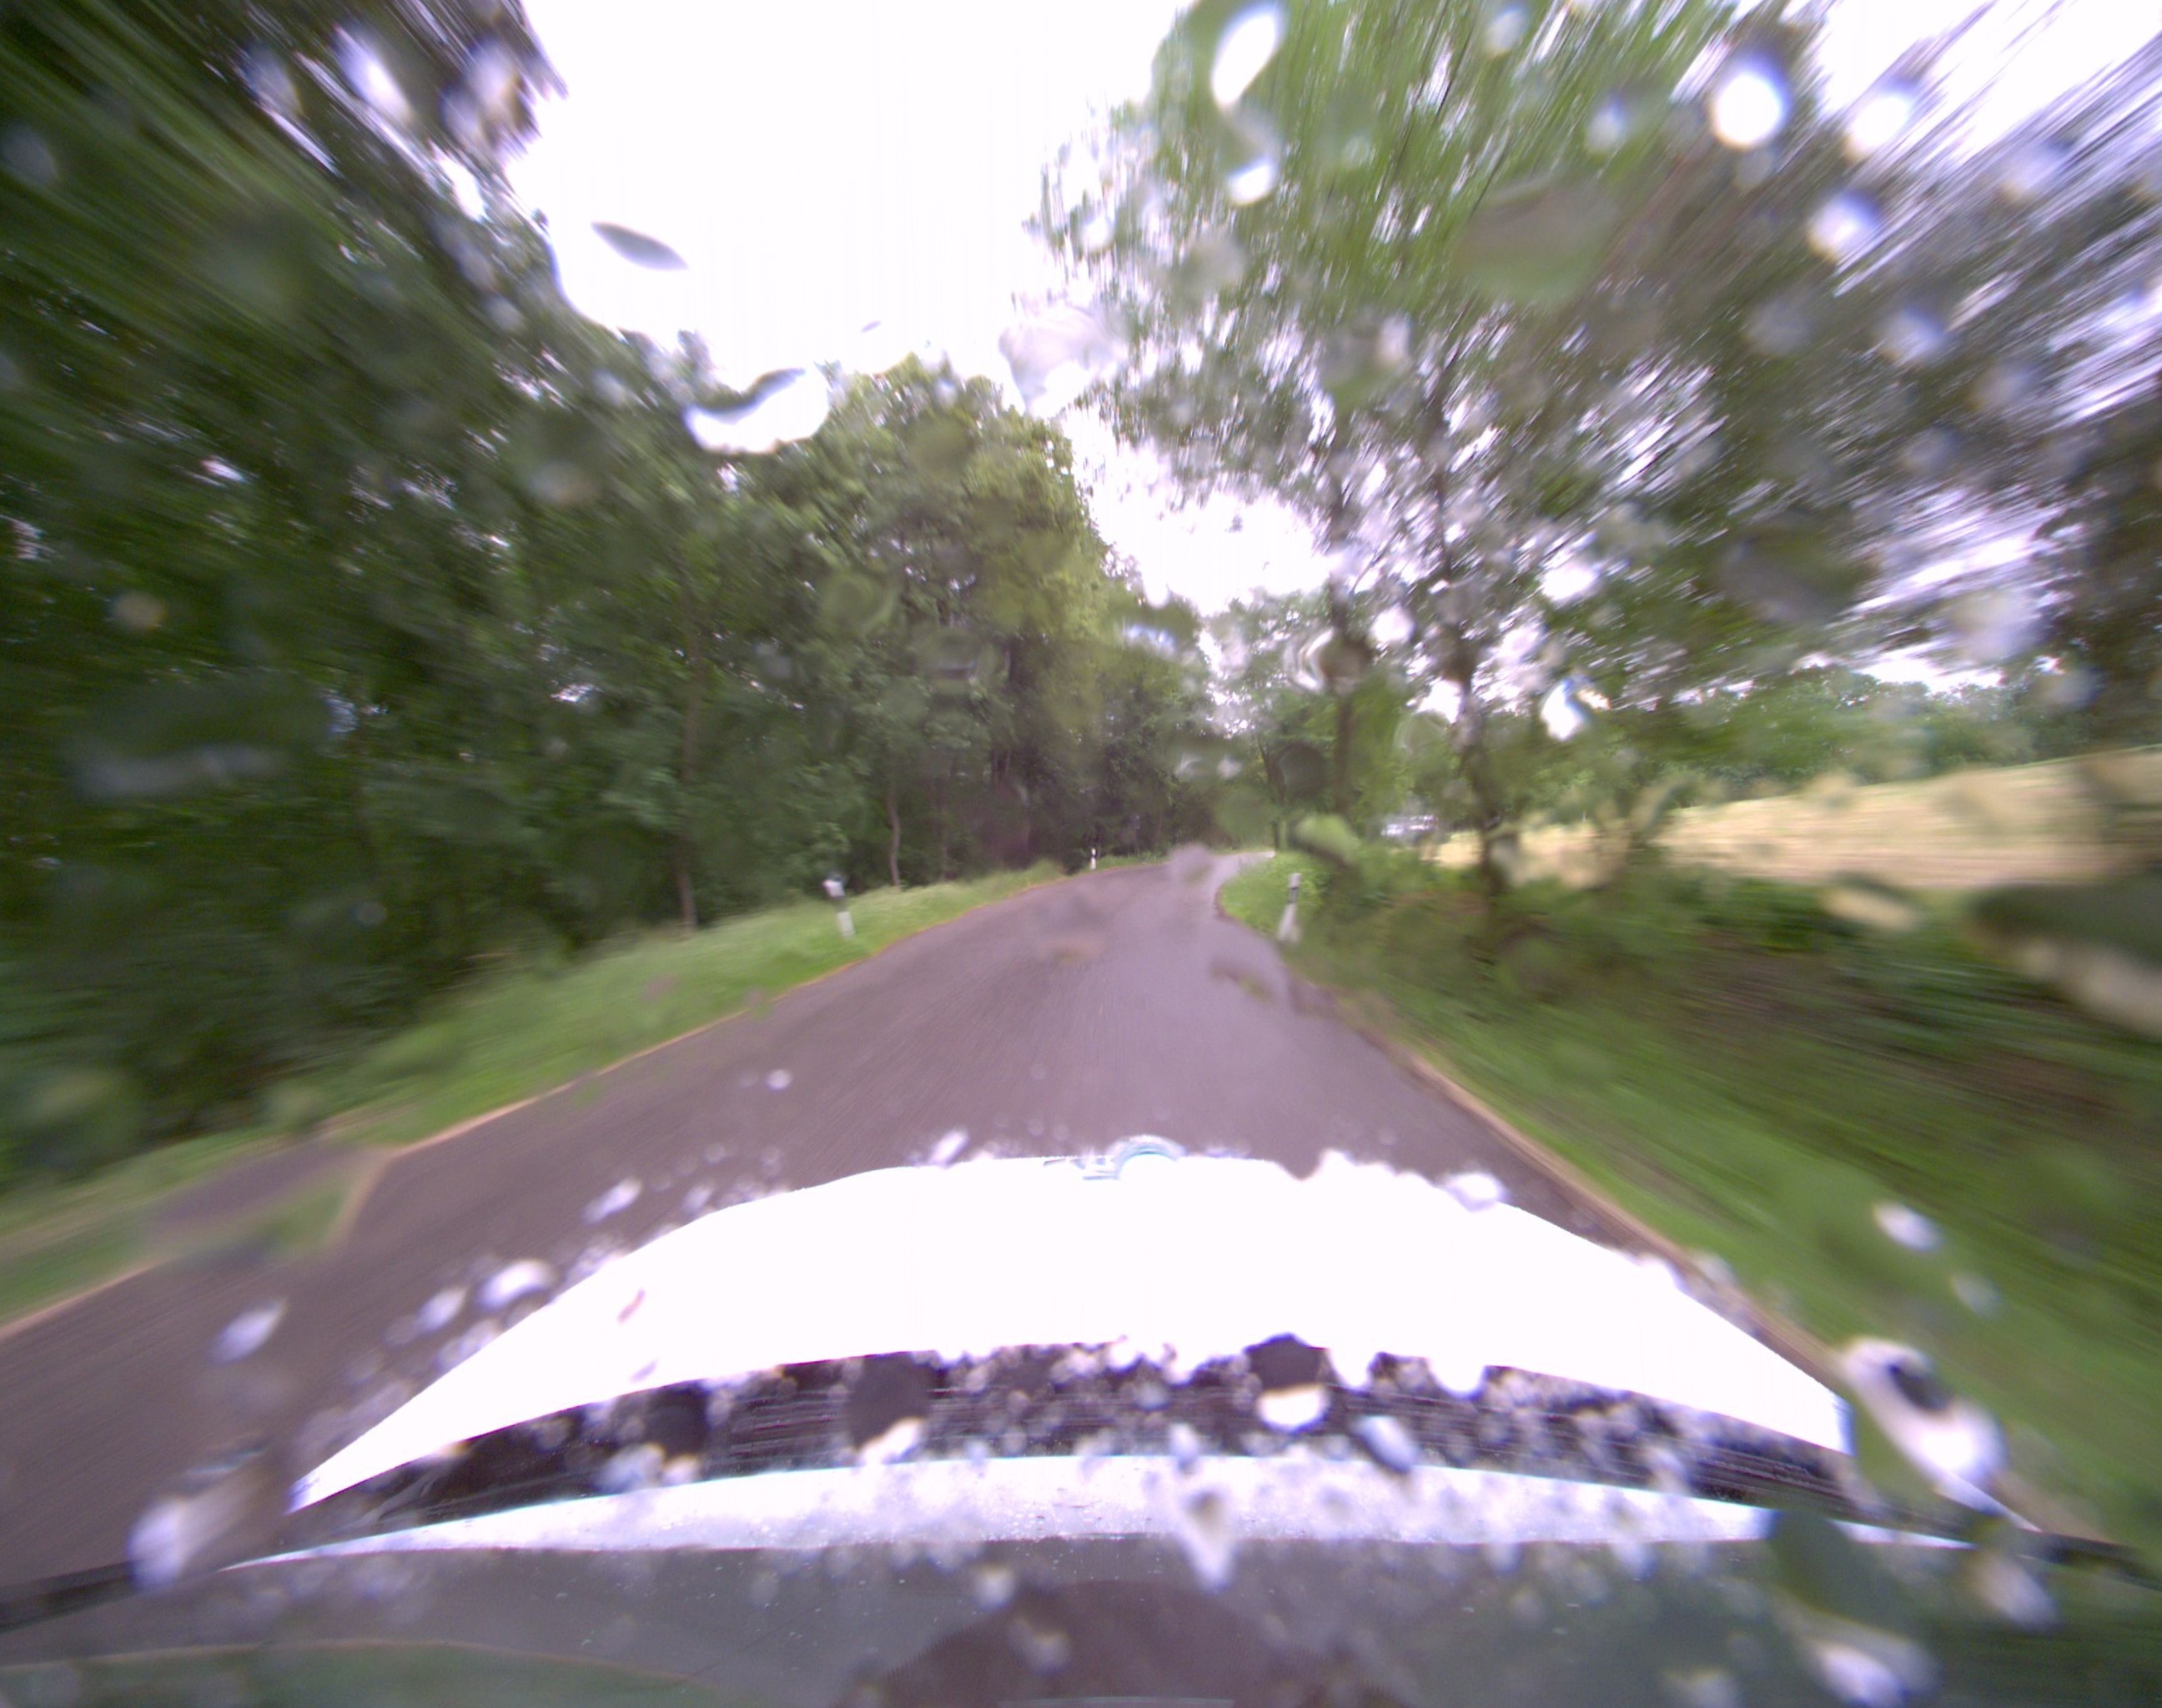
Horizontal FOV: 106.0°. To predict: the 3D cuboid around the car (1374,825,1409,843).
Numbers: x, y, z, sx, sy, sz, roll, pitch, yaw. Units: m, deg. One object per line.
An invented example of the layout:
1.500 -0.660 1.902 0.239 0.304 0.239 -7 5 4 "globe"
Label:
32.575 -2.103 85.283 1.843 1.595 4.523 -2 2 42 "car"
